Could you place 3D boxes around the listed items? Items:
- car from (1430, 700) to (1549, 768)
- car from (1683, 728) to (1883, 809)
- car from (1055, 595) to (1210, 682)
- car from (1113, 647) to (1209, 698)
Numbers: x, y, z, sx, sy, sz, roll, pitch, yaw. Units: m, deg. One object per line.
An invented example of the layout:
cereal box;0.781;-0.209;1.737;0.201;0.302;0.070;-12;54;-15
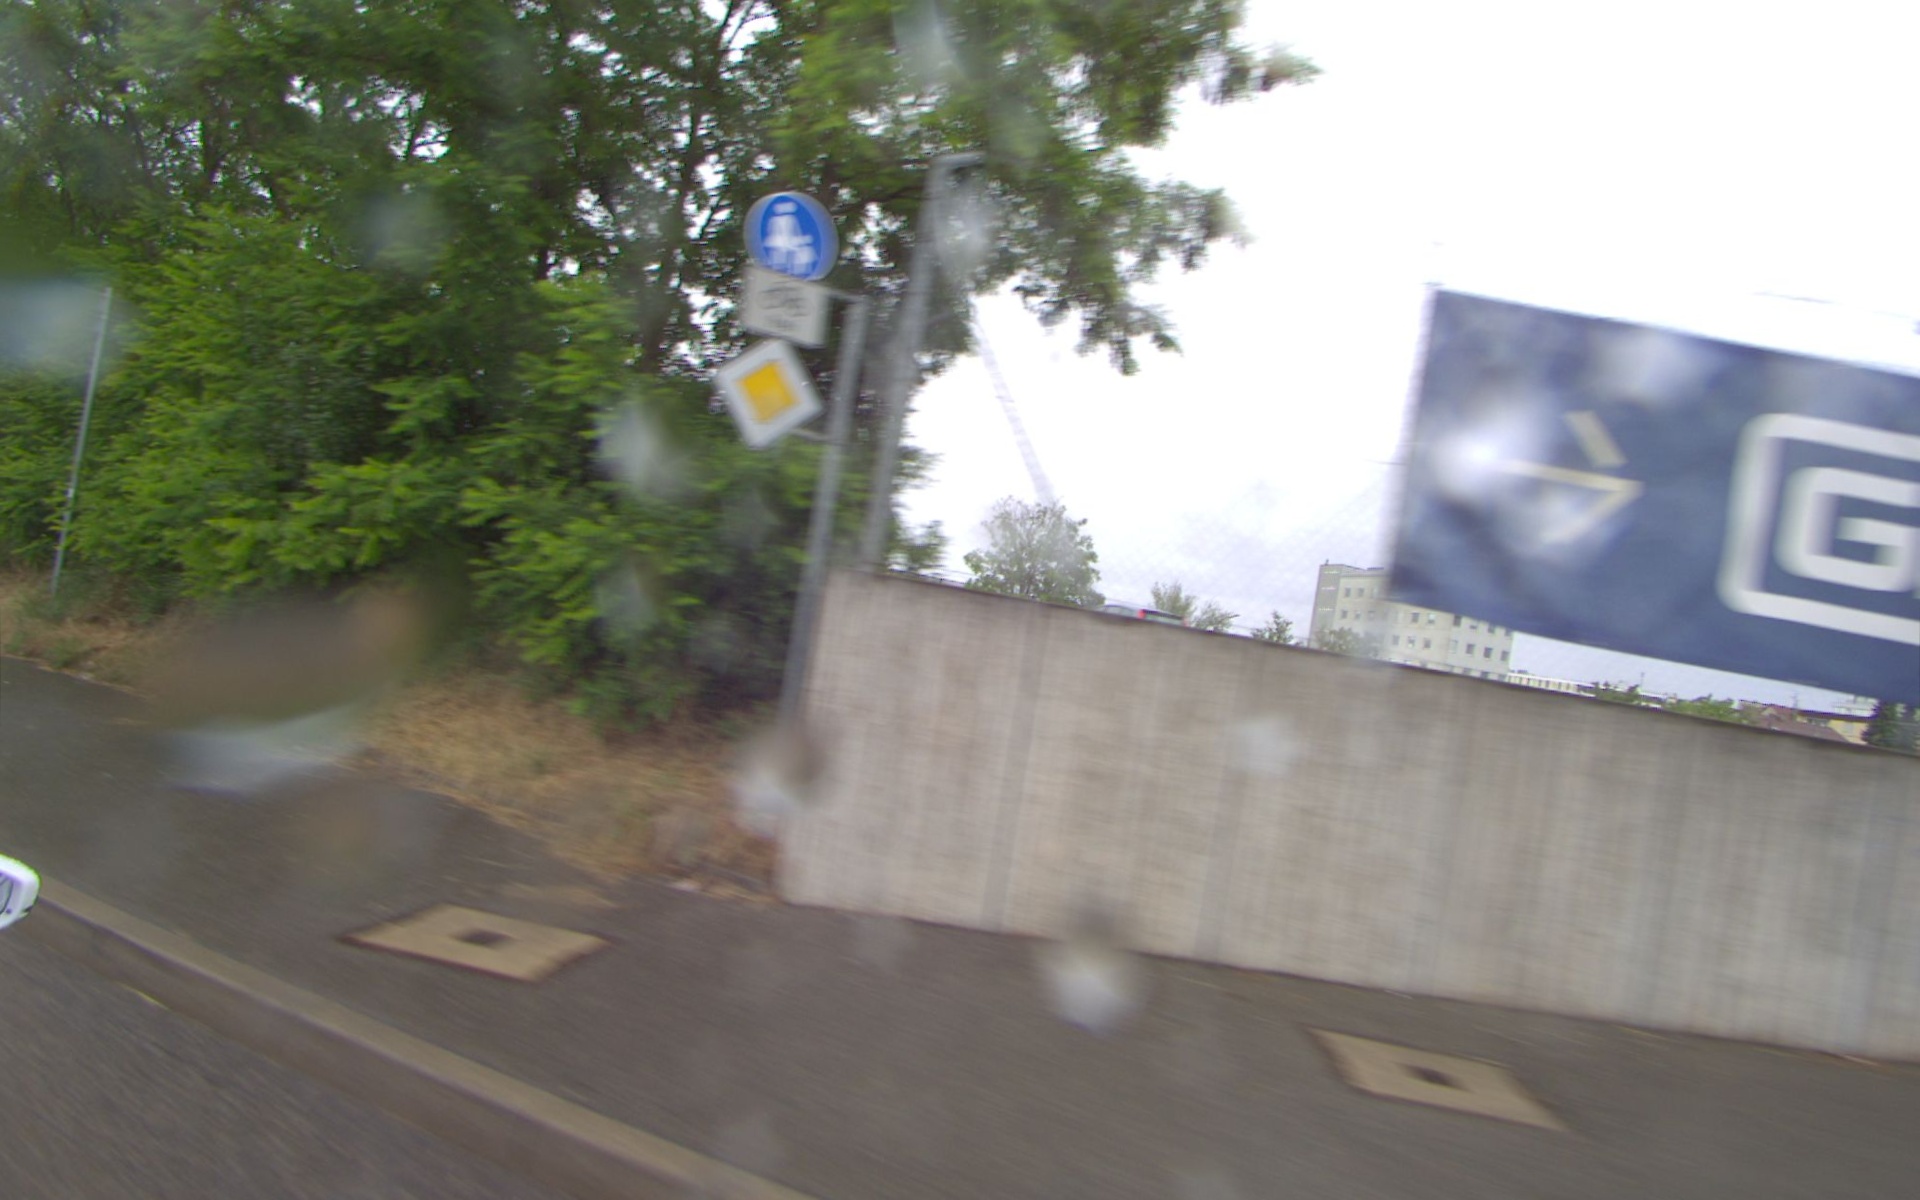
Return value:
car;20.892;5.242;39.869;1.725;2.036;3.807;8;-2;-21
car;24.116;4.910;29.679;1.690;1.577;4.169;9;-2;-23
car;3.767;0.809;22.614;1.725;1.571;3.516;9;-2;-21
car;8.025;2.866;40.496;1.838;1.543;4.089;9;-2;-19
